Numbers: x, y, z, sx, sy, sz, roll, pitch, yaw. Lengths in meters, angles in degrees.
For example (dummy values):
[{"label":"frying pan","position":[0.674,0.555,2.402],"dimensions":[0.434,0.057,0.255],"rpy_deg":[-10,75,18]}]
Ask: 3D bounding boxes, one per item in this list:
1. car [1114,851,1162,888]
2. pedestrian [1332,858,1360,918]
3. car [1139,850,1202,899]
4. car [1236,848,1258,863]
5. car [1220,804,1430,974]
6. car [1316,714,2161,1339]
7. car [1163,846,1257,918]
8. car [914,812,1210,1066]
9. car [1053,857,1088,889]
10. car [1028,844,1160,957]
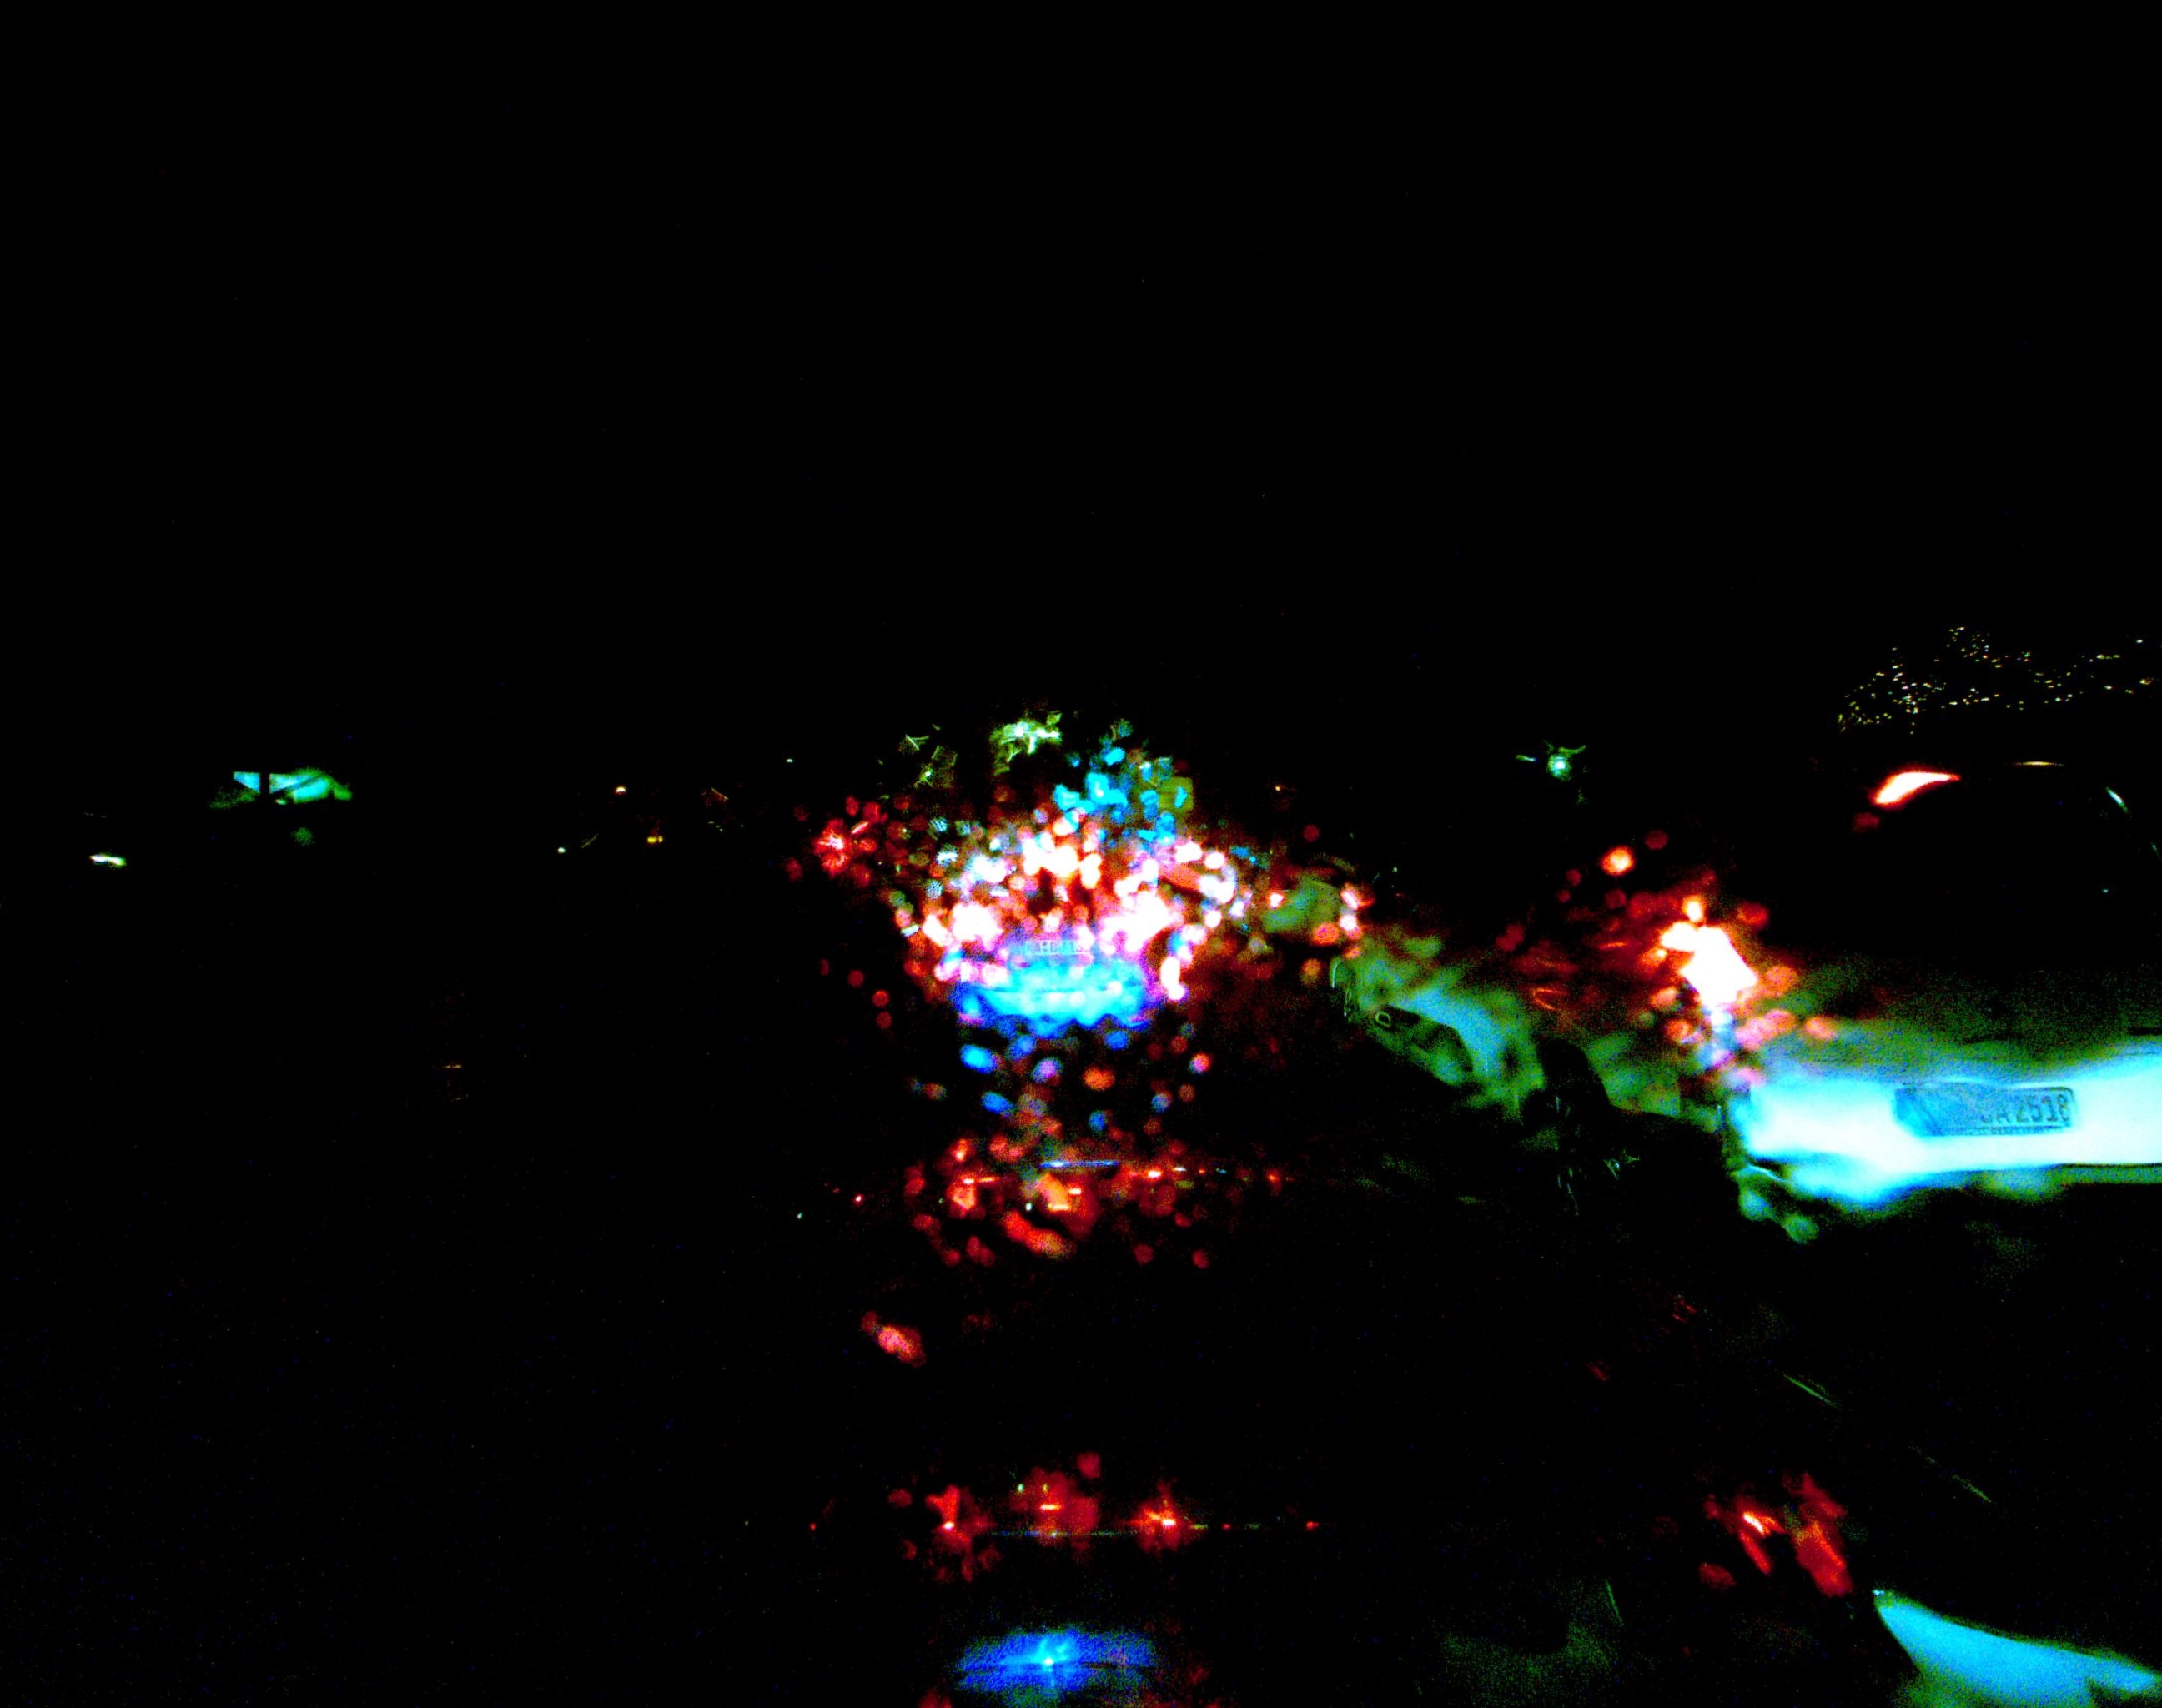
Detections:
[{"label":"car","position":[2.845,0.771,41.545],"dimensions":[1.989,1.773,3.996],"rpy_deg":[0,-1,-2]},{"label":"pedestrian","position":[7.664,0.972,23.598],"dimensions":[0.621,1.701,0.541],"rpy_deg":[0,-1,-1]},{"label":"car","position":[3.229,0.725,30.130],"dimensions":[1.986,1.670,4.001],"rpy_deg":[0,-1,2]},{"label":"car","position":[19.131,0.155,93.903],"dimensions":[1.857,1.646,3.965],"rpy_deg":[-3,-1,2]},{"label":"car","position":[3.288,0.436,11.841],"dimensions":[1.961,2.047,4.001],"rpy_deg":[0,-1,2]},{"label":"car","position":[2.826,0.533,4.615],"dimensions":[1.845,1.865,4.342],"rpy_deg":[0,-1,2]},{"label":"car","position":[3.320,0.698,21.689],"dimensions":[1.986,1.718,4.001],"rpy_deg":[0,-1,2]},{"label":"car","position":[-0.077,0.598,7.770],"dimensions":[2.007,1.717,4.453],"rpy_deg":[0,-1,1]},{"label":"car","position":[-0.687,1.137,49.764],"dimensions":[1.989,1.824,3.995],"rpy_deg":[0,-1,-3]},{"label":"car","position":[0.251,0.721,14.305],"dimensions":[1.986,1.684,4.001],"rpy_deg":[0,-1,2]}]
